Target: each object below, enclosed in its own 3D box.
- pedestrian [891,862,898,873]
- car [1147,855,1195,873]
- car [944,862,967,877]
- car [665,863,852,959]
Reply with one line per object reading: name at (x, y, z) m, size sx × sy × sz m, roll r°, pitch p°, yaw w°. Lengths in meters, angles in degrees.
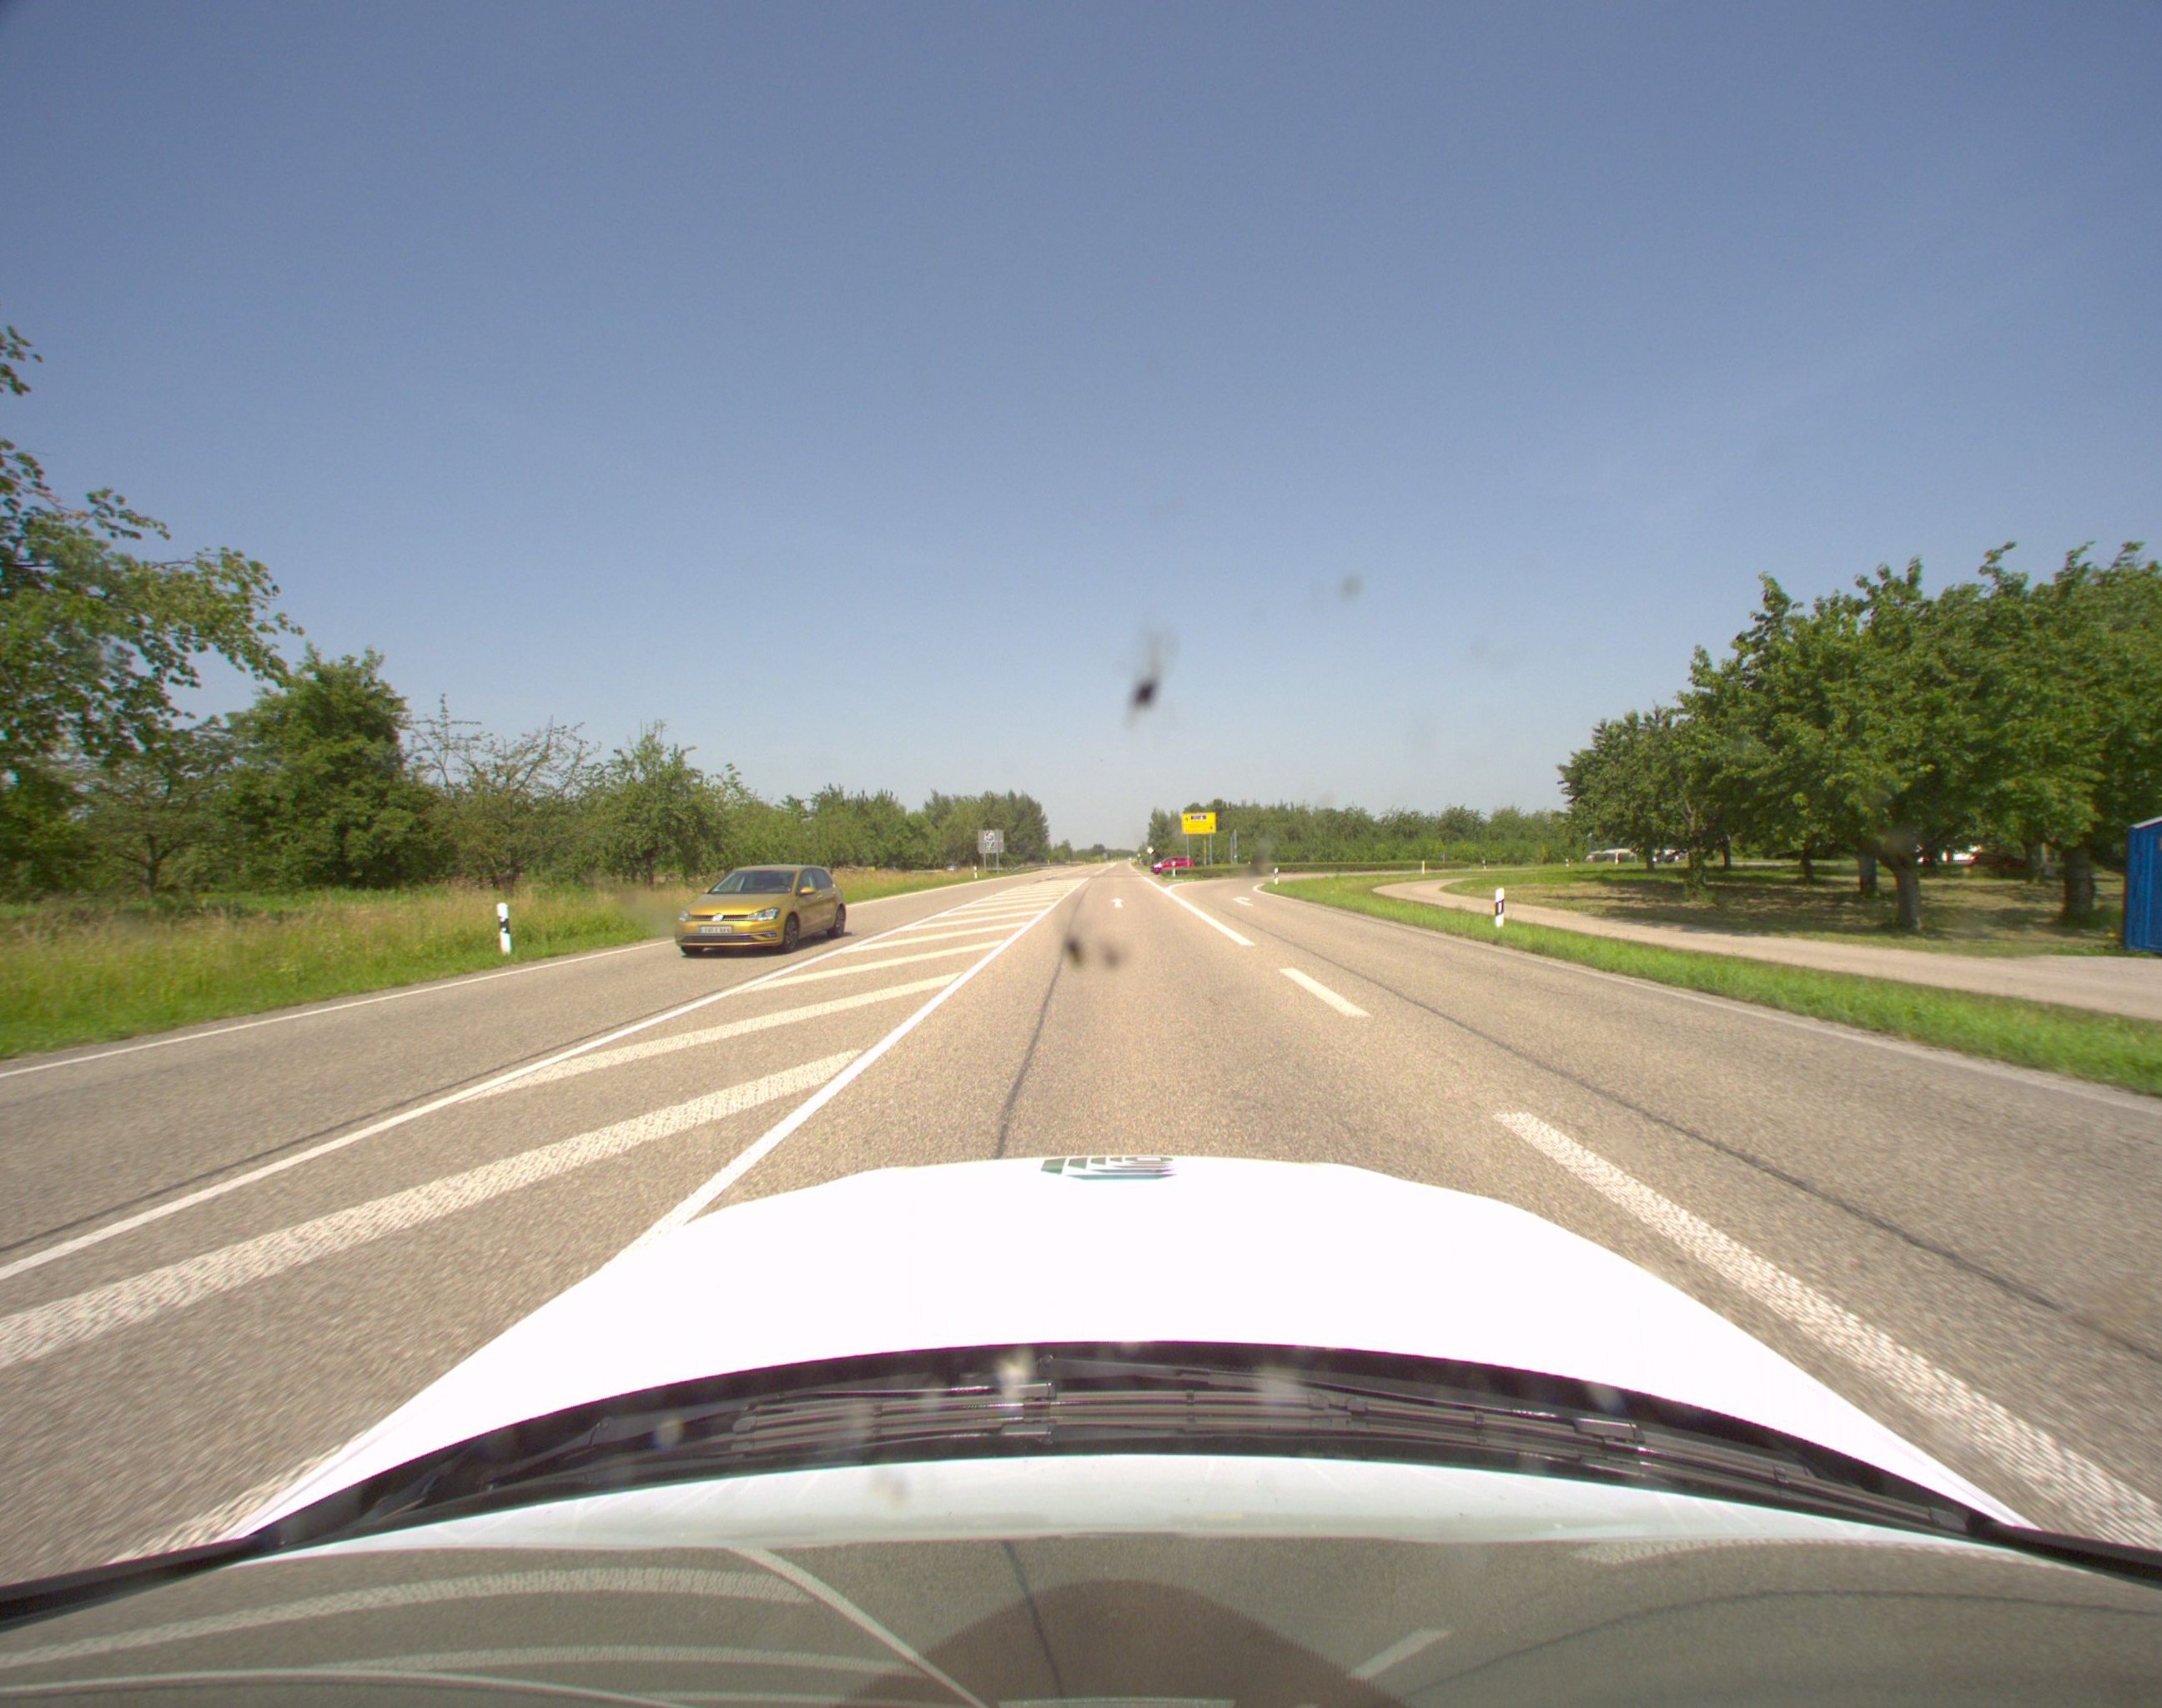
pedestrian at (-21.448, 1.529, 93.778) m, size 0.570 × 1.297 × 0.556 m, roll -1°, pitch -1°, yaw 4°
car at (7.780, 0.865, 70.366) m, size 3.747 × 1.493 × 1.663 m, roll 0°, pitch 0°, yaw -15°
car at (-12.438, 1.520, 80.667) m, size 1.700 × 1.423 × 4.040 m, roll -2°, pitch 0°, yaw -2°
car at (-5.520, 0.902, 14.487) m, size 1.691 × 1.416 × 3.826 m, roll -1°, pitch 0°, yaw 1°
